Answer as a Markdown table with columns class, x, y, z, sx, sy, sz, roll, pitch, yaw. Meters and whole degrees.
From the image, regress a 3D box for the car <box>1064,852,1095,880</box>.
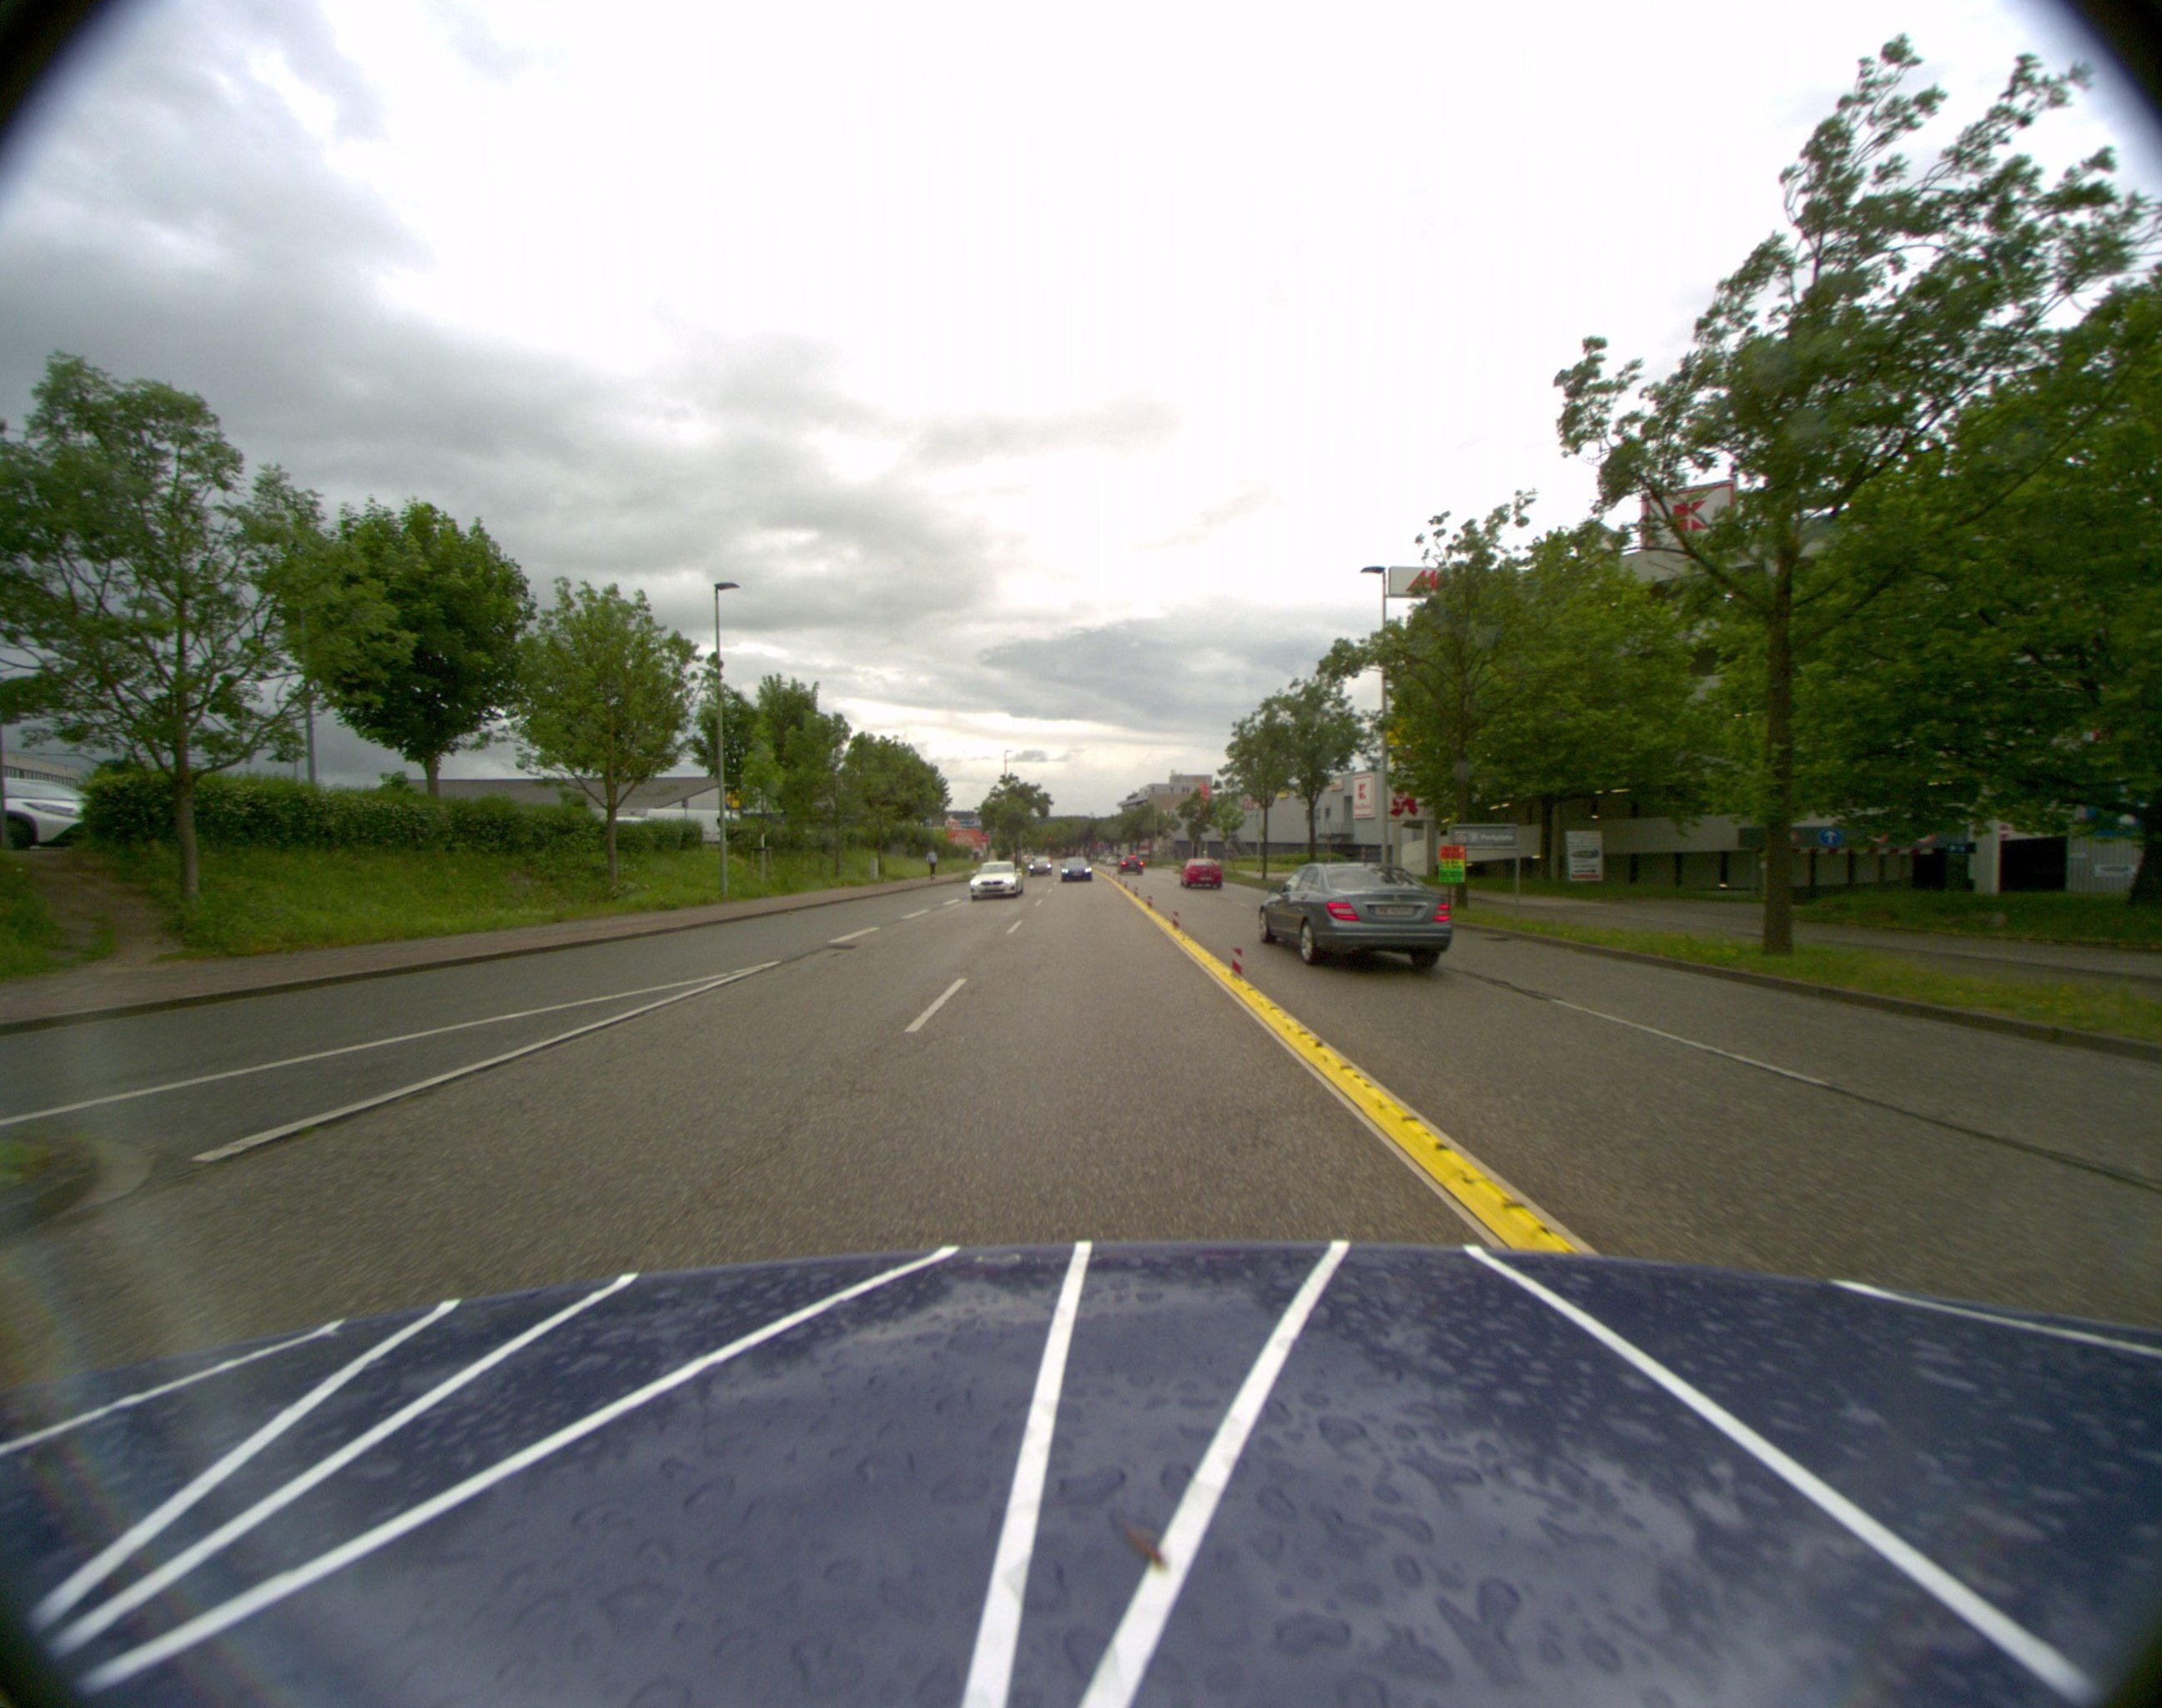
| class | x | y | z | sx | sy | sz | roll | pitch | yaw |
| --- | --- | --- | --- | --- | --- | --- | --- | --- | --- |
| car | -0.111 | 0.715 | 46.962 | 1.799 | 1.572 | 4.218 | -3 | 0 | -1 |

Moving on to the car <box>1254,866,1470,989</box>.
| class | x | y | z | sx | sy | sz | roll | pitch | yaw |
| --- | --- | --- | --- | --- | --- | --- | --- | --- | --- |
| car | 3.937 | 0.929 | 11.480 | 1.671 | 1.402 | 4.377 | 1 | 0 | 1 |

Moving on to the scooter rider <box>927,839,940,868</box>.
| class | x | y | z | sx | sy | sz | roll | pitch | yaw |
| --- | --- | --- | --- | --- | --- | --- | --- | --- | --- |
| scooter rider | -9.601 | -0.043 | 49.514 | 0.696 | 1.810 | 0.858 | 1 | 1 | -1 |

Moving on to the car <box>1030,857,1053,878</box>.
| class | x | y | z | sx | sy | sz | roll | pitch | yaw |
| --- | --- | --- | --- | --- | --- | --- | --- | --- | --- |
| car | -3.257 | 1.087 | 63.480 | 1.799 | 1.572 | 4.217 | -3 | 0 | -2 |

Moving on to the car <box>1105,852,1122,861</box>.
| class | x | y | z | sx | sy | sz | roll | pitch | yaw |
| --- | --- | --- | --- | --- | --- | --- | --- | --- | --- |
| car | 5.057 | 0.438 | 117.899 | 1.905 | 1.400 | 4.421 | 0 | 0 | -7 |

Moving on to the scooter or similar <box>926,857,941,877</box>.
| class | x | y | z | sx | sy | sz | roll | pitch | yaw |
| --- | --- | --- | --- | --- | --- | --- | --- | --- | --- |
| scooter or similar | -9.617 | 0.816 | 49.610 | 0.696 | 1.256 | 1.400 | 1 | 1 | 0 |

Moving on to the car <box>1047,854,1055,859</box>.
| class | x | y | z | sx | sy | sz | roll | pitch | yaw |
| --- | --- | --- | --- | --- | --- | --- | --- | --- | --- |
| car | -8.369 | 0.564 | 209.417 | 1.789 | 1.398 | 4.613 | 0 | 0 | -8 |

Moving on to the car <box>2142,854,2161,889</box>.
| class | x | y | z | sx | sy | sz | roll | pitch | yaw |
| --- | --- | --- | --- | --- | --- | --- | --- | --- | --- |
| car | 48.938 | 0.716 | 32.544 | 1.756 | 1.454 | 3.834 | -4 | 1 | -44 |

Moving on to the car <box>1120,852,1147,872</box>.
| class | x | y | z | sx | sy | sz | roll | pitch | yaw |
| --- | --- | --- | --- | --- | --- | --- | --- | --- | --- |
| car | 4.101 | 0.630 | 60.088 | 1.831 | 1.457 | 4.615 | 0 | 1 | 1 |

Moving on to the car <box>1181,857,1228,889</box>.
| class | x | y | z | sx | sy | sz | roll | pitch | yaw |
| --- | --- | --- | --- | --- | --- | --- | --- | --- | --- |
| car | 5.922 | 0.888 | 36.930 | 1.766 | 1.417 | 4.180 | 1 | 1 | 3 |

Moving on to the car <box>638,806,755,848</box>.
| class | x | y | z | sx | sy | sz | roll | pitch | yaw |
| --- | --- | --- | --- | --- | --- | --- | --- | --- | --- |
| car | -22.115 | -1.541 | 43.925 | 5.625 | 2.130 | 2.120 | 2 | 1 | -7 |

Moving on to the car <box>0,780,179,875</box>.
| class | x | y | z | sx | sy | sz | roll | pitch | yaw |
| --- | --- | --- | --- | --- | --- | --- | --- | --- | --- |
| car | -20.154 | -0.535 | 14.107 | 4.359 | 1.619 | 1.927 | 2 | 1 | -2 |

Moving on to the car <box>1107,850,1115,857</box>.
| class | x | y | z | sx | sy | sz | roll | pitch | yaw |
| --- | --- | --- | --- | --- | --- | --- | --- | --- | --- |
| car | 9.377 | -0.062 | 236.537 | 1.999 | 2.002 | 4.884 | -5 | 1 | -1 |

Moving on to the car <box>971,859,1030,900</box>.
| class | x | y | z | sx | sy | sz | roll | pitch | yaw |
| --- | --- | --- | --- | --- | --- | --- | --- | --- | --- |
| car | -3.266 | 0.986 | 31.591 | 1.808 | 1.432 | 4.542 | -3 | 0 | 1 |

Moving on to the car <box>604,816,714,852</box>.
| class | x | y | z | sx | sy | sz | roll | pitch | yaw |
| --- | --- | --- | --- | --- | --- | --- | --- | --- | --- |
| car | -21.145 | -0.993 | 38.202 | 4.360 | 1.619 | 1.927 | 2 | 1 | -5 |
